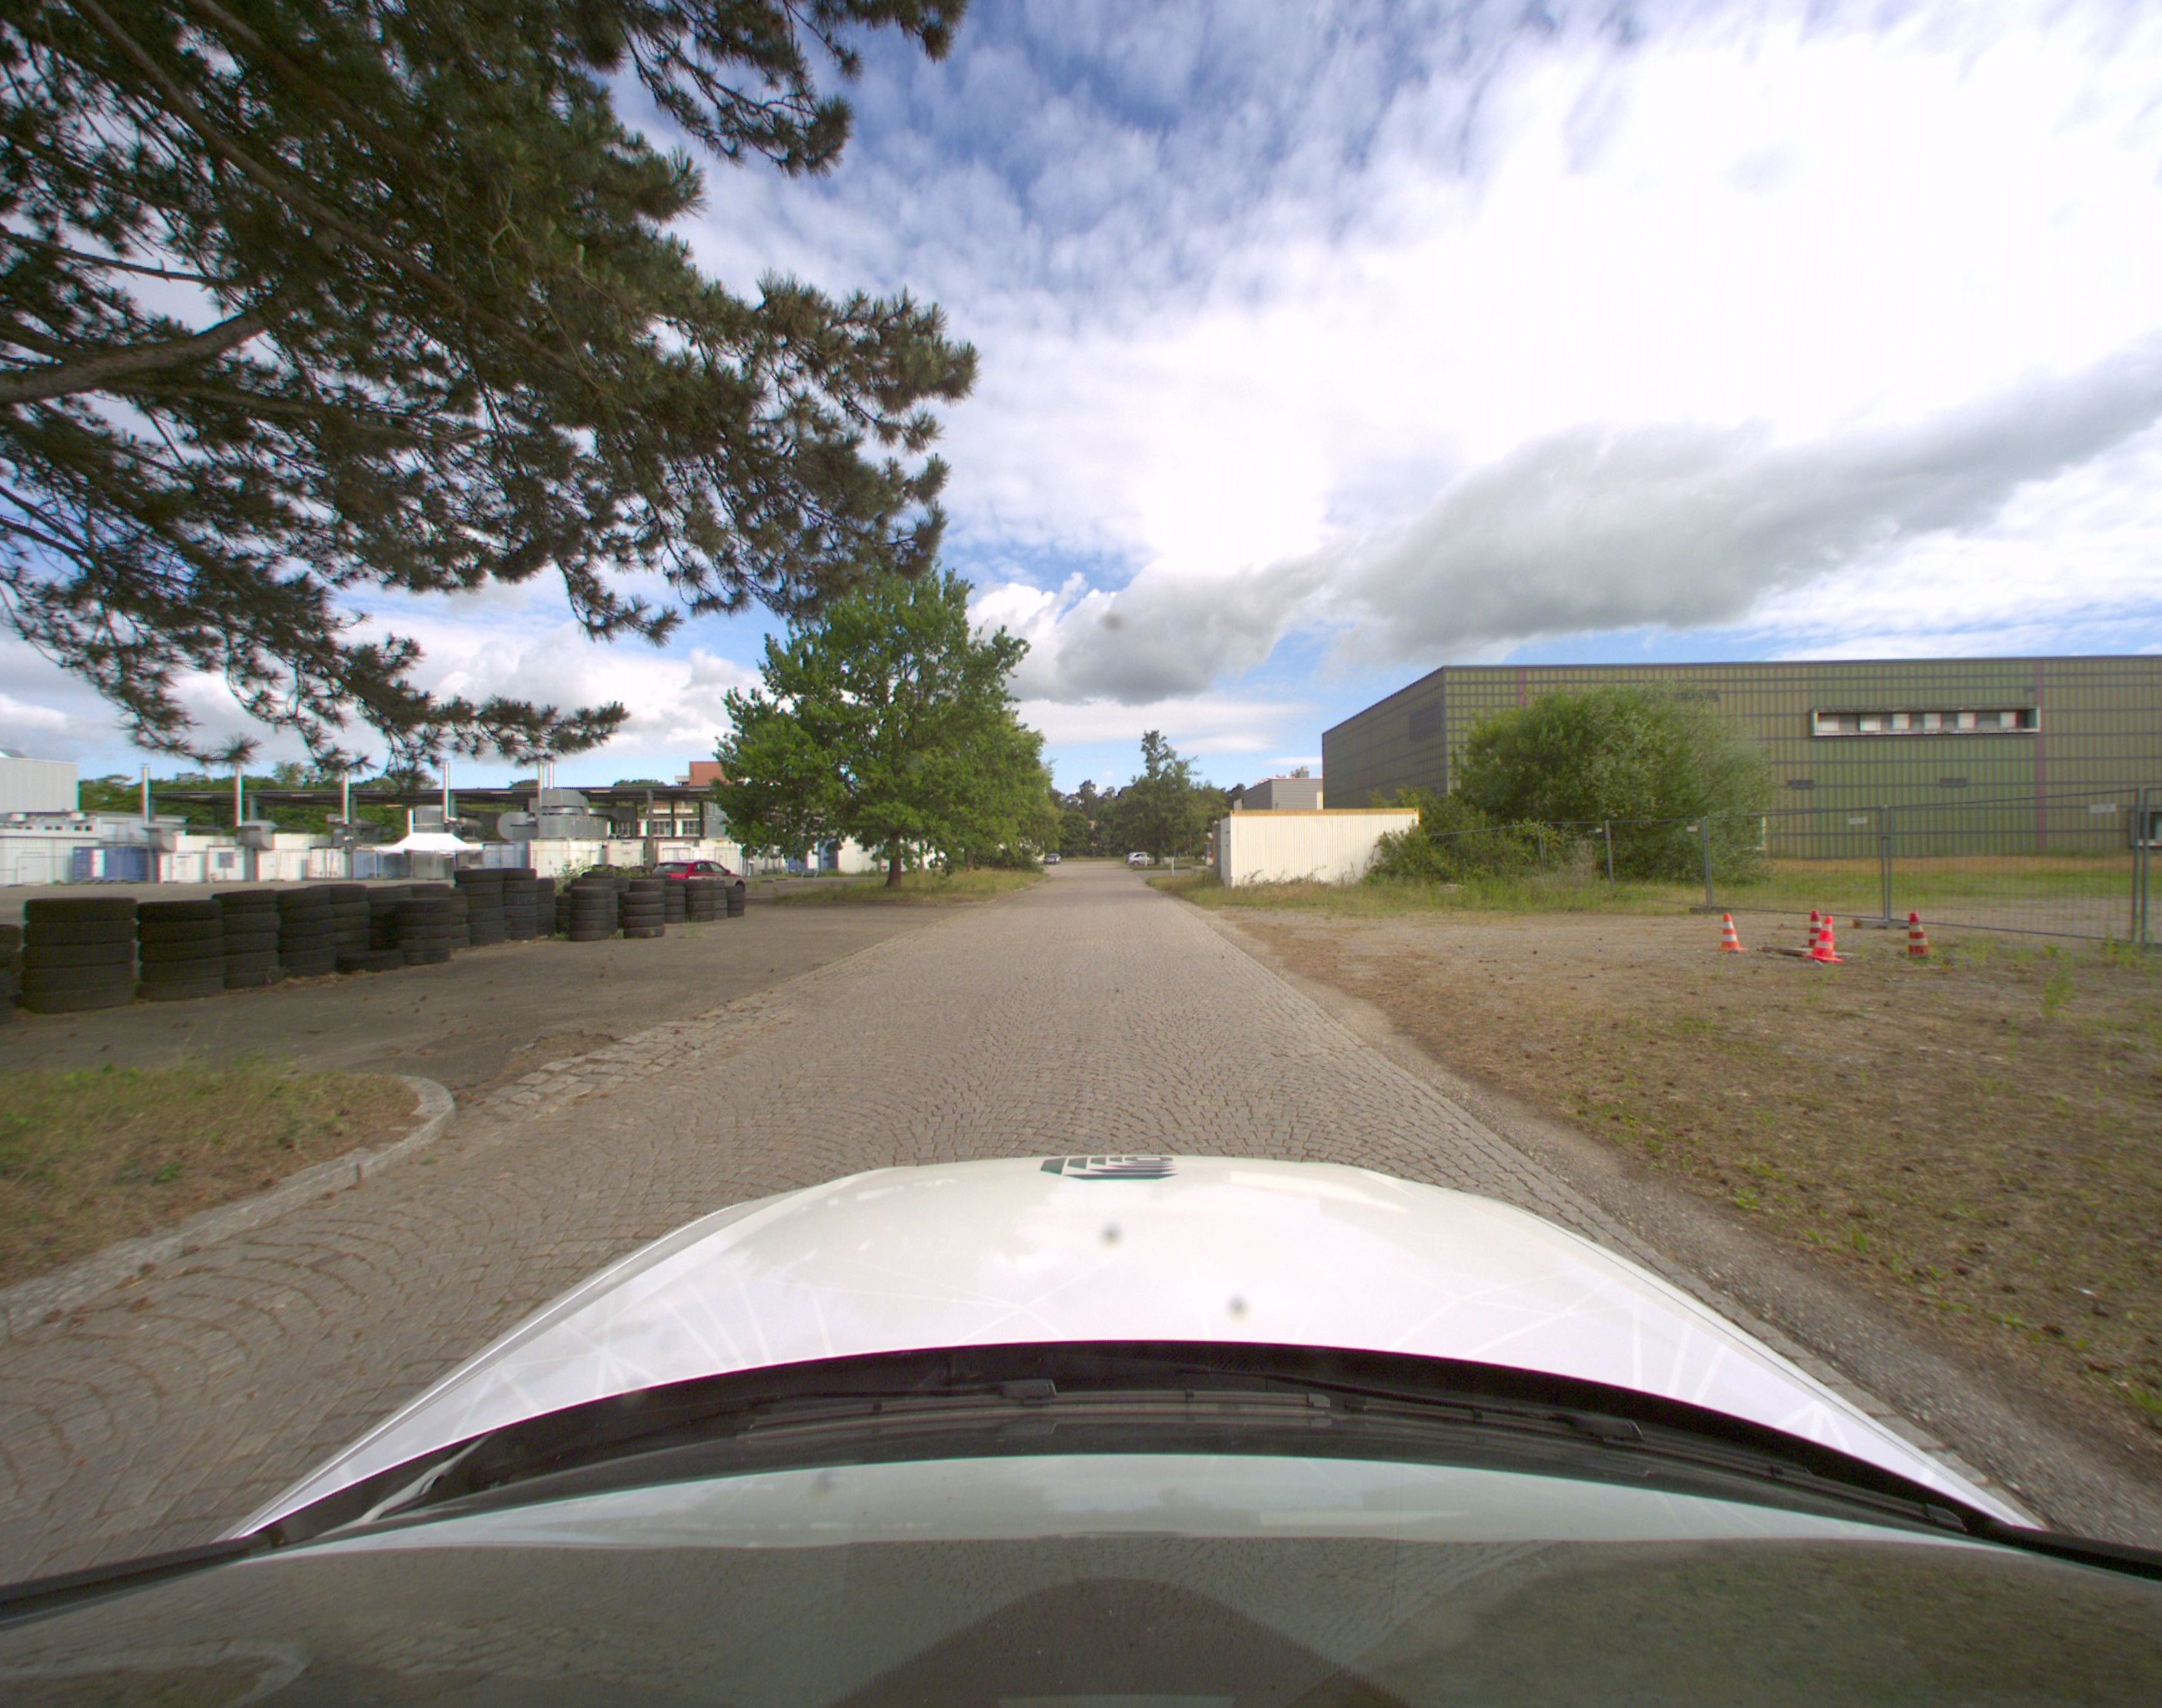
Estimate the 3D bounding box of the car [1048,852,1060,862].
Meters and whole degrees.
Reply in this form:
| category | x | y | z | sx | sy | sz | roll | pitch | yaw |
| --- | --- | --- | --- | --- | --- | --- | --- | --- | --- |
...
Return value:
| category | x | y | z | sx | sy | sz | roll | pitch | yaw |
| --- | --- | --- | --- | --- | --- | --- | --- | --- | --- |
| car | -4.201 | 0.452 | 127.589 | 1.641 | 1.458 | 3.999 | -1 | 0 | 2 |

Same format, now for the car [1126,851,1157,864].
| category | x | y | z | sx | sy | sz | roll | pitch | yaw |
| --- | --- | --- | --- | --- | --- | --- | --- | --- | --- |
| car | 7.109 | 0.410 | 95.465 | 3.509 | 1.362 | 1.623 | -3 | 0 | 2 |

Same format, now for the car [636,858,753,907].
| category | x | y | z | sx | sy | sz | roll | pitch | yaw |
| --- | --- | --- | --- | --- | --- | --- | --- | --- | --- |
| car | -12.909 | 0.903 | 27.502 | 1.617 | 1.433 | 4.072 | -1 | 1 | 7 |

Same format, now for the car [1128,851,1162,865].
| category | x | y | z | sx | sy | sz | roll | pitch | yaw |
| --- | --- | --- | --- | --- | --- | --- | --- | --- | --- |
| car | 7.734 | 0.471 | 98.149 | 3.969 | 1.448 | 1.654 | -3 | 0 | 2 |

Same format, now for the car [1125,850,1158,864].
| category | x | y | z | sx | sy | sz | roll | pitch | yaw |
| --- | --- | --- | --- | --- | --- | --- | --- | --- | --- |
| car | 7.644 | 0.389 | 103.285 | 3.969 | 1.475 | 1.654 | -3 | 0 | 2 |

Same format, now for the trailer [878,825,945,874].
| category | x | y | z | sx | sy | sz | roll | pitch | yaw |
| --- | --- | --- | --- | --- | --- | --- | --- | --- | --- |
| trailer | -13.428 | -0.368 | 65.580 | 2.614 | 3.598 | 10.188 | -1 | 0 | 4 |

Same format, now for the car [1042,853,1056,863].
| category | x | y | z | sx | sy | sz | roll | pitch | yaw |
| --- | --- | --- | --- | --- | --- | --- | --- | --- | --- |
| car | -4.611 | 0.563 | 117.249 | 1.641 | 1.369 | 3.999 | -1 | 0 | 2 |
